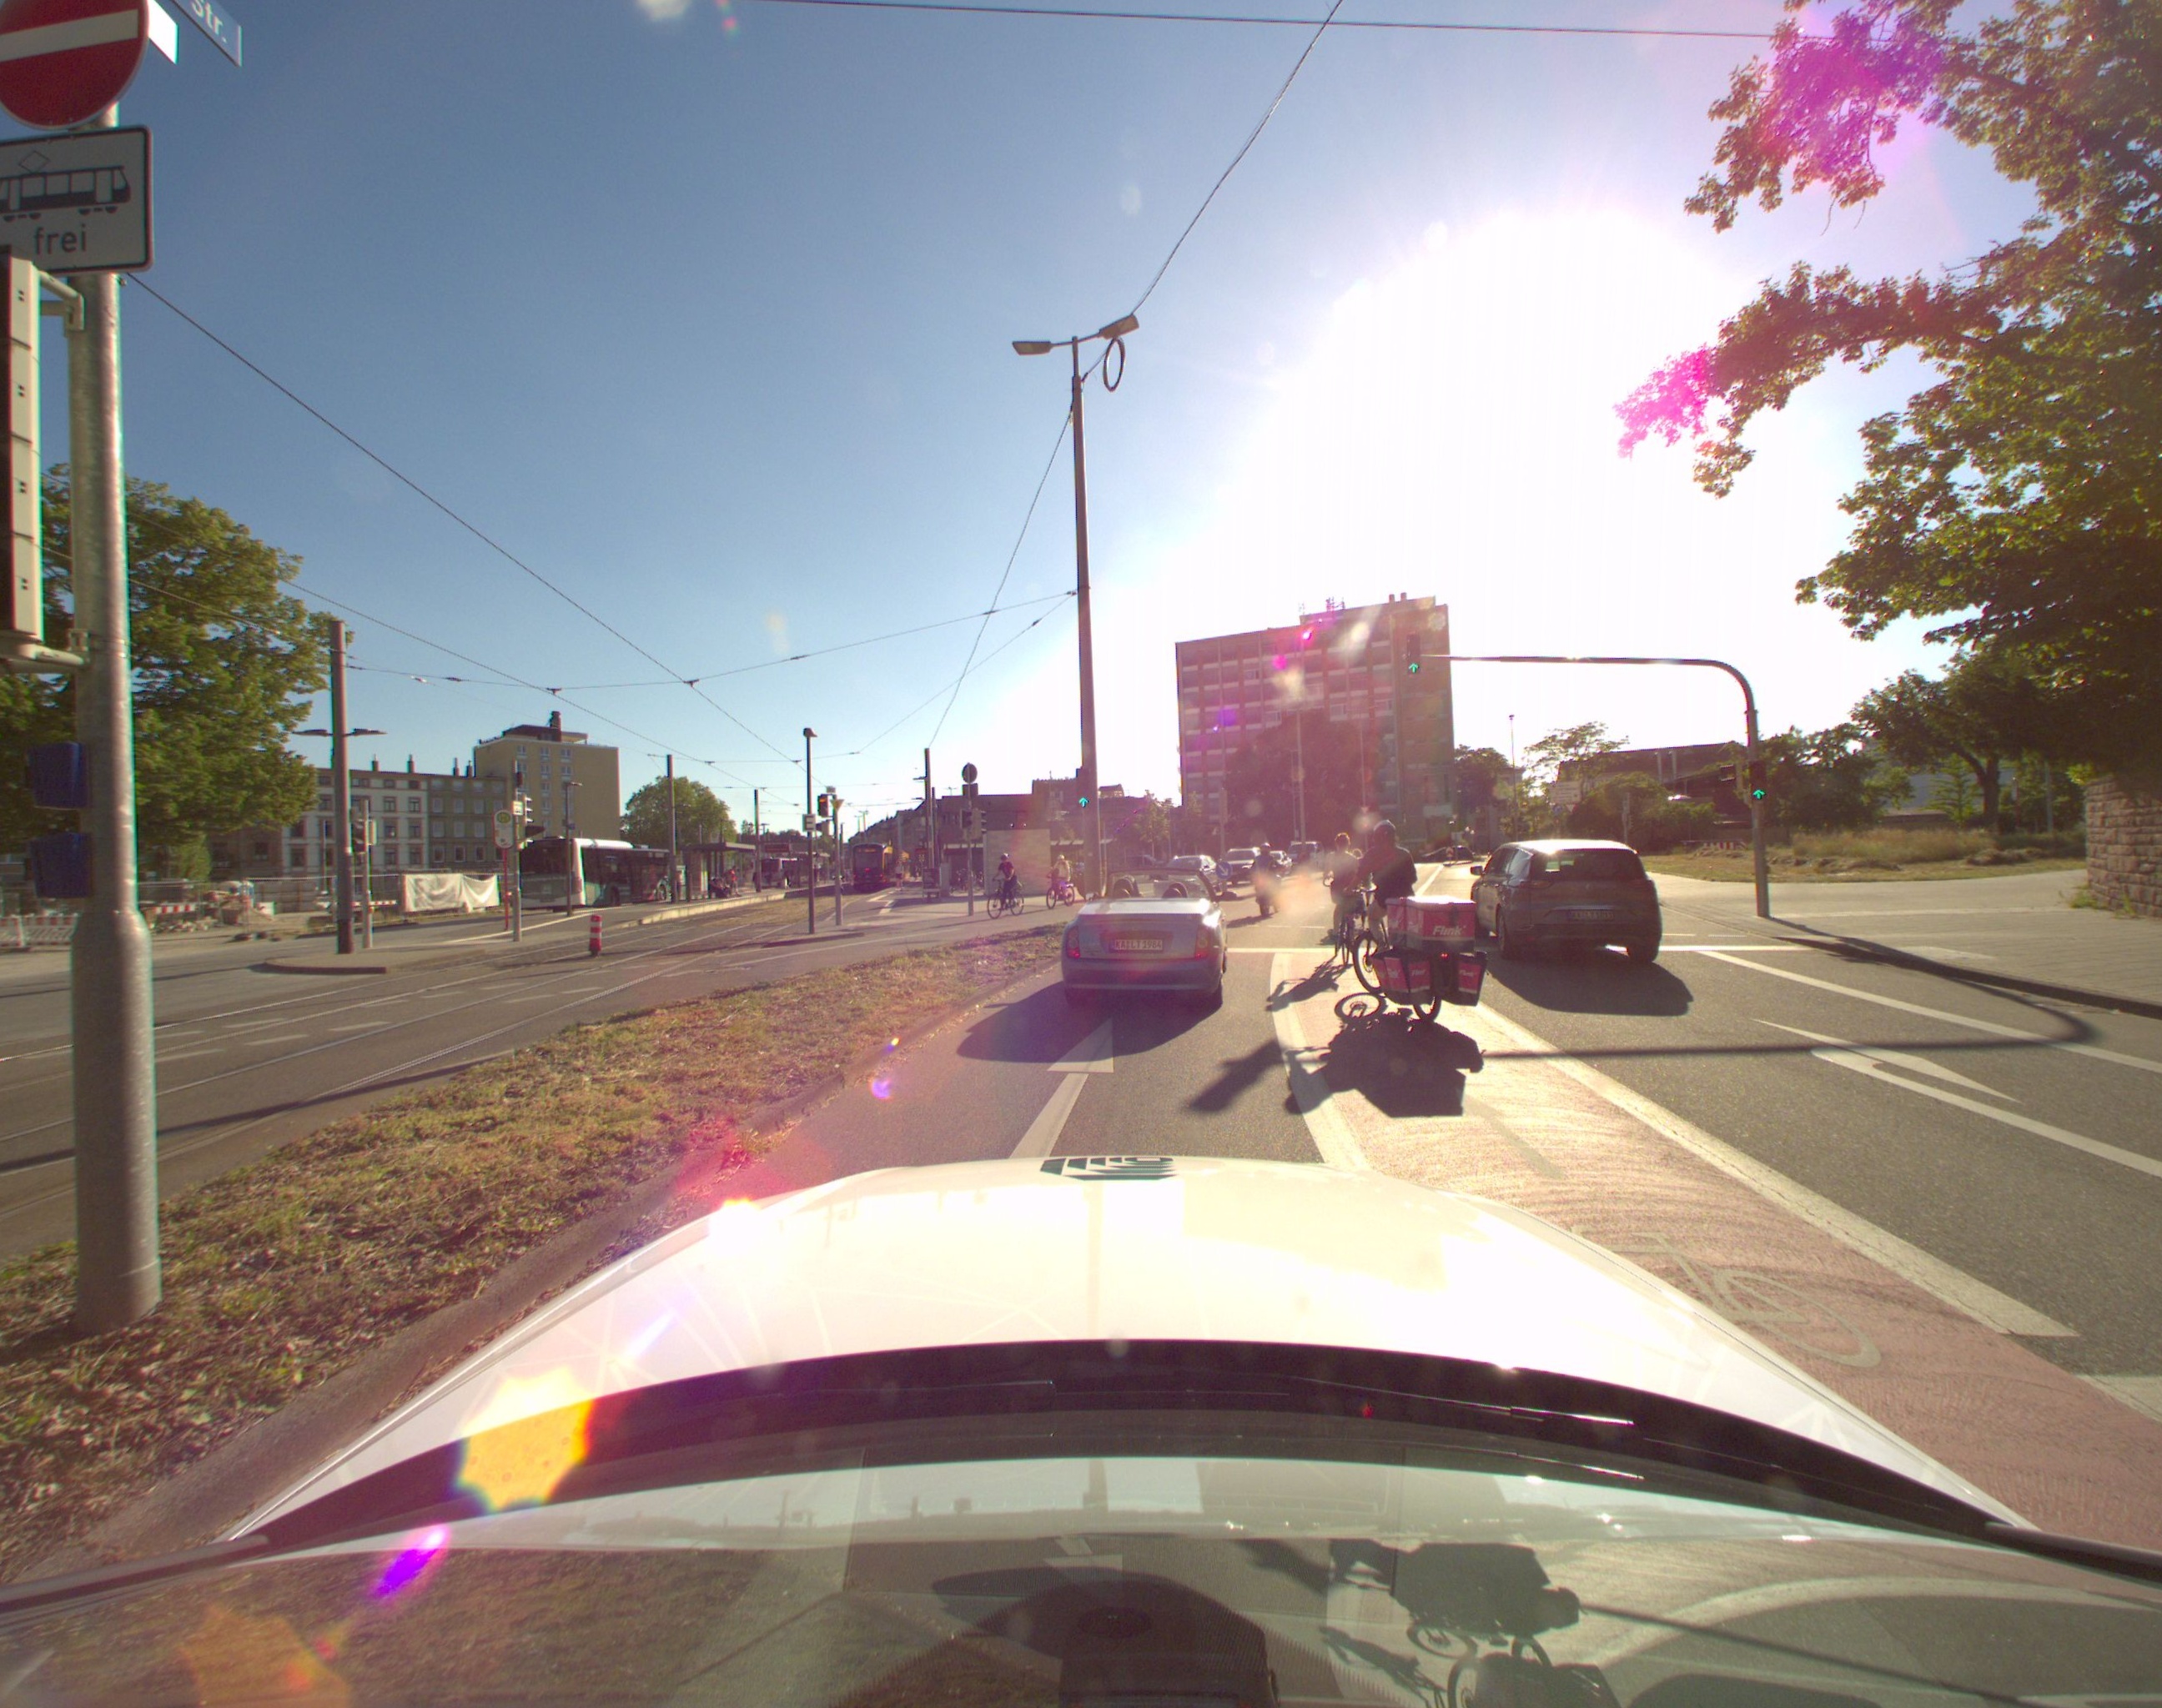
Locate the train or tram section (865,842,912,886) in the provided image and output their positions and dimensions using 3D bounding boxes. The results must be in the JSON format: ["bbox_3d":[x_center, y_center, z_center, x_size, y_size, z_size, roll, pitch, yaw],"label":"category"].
[{"bbox_3d":[-17.098,0.916,73.130,3.010,3.597,12.165,0,-1,-8],"label":"train or tram section"}]

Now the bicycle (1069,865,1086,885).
[{"bbox_3d":[-0.201,1.150,45.290,0.607,1.115,1.890,0,-1,-10],"label":"bicycle"}]

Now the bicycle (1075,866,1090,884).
[{"bbox_3d":[0.106,1.291,51.292,0.607,1.115,1.890,0,-1,-10],"label":"bicycle"}]

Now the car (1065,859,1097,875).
[{"bbox_3d":[-0.007,1.441,88.534,1.653,1.560,3.559,-2,-1,-37],"label":"car"}]

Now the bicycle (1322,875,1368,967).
[{"bbox_3d":[3.715,0.895,11.540,0.559,1.151,1.958,-1,-1,17],"label":"bicycle"}]

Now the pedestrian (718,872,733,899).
[{"bbox_3d":[-18.624,1.637,42.647,0.617,1.340,0.438,-2,-1,-15],"label":"pedestrian"}]

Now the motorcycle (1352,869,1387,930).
[{"bbox_3d":[5.798,0.871,16.357,0.608,1.097,2.372,-1,-1,20],"label":"motorcycle"}]

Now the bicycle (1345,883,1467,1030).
[{"bbox_3d":[3.118,0.902,8.039,0.551,1.171,2.377,0,-1,8],"label":"bicycle"}]

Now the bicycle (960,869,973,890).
[{"bbox_3d":[-6.234,1.360,44.235,0.607,1.115,1.890,0,-1,-10],"label":"bicycle"}]

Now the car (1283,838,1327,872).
[{"bbox_3d":[14.162,0.068,51.276,1.891,1.945,4.732,-4,-1,23],"label":"car"}]

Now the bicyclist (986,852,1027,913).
[{"bbox_3d":[-2.127,0.809,23.324,0.702,1.657,0.906,-5,-2,24],"label":"bicyclist"}]

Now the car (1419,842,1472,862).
[{"bbox_3d":[32.742,-0.153,73.180,3.983,1.530,1.801,-3,-1,-7],"label":"car"}]

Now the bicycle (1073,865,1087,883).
[{"bbox_3d":[-0.056,1.292,53.269,0.607,1.115,1.890,0,-1,-10],"label":"bicycle"}]

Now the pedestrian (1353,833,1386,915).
[{"bbox_3d":[5.789,0.390,16.352,0.583,1.598,1.030,-1,-1,19],"label":"pedestrian"}]

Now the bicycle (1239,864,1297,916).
[{"bbox_3d":[4.608,0.851,19.945,0.602,1.191,2.430,-1,-1,32],"label":"bicycle"}]

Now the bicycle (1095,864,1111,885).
[{"bbox_3d":[1.217,1.143,45.559,0.606,1.115,1.892,0,-1,-7],"label":"bicycle"}]

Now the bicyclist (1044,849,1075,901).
[{"bbox_3d":[-0.719,0.685,26.892,0.702,1.657,0.747,-3,-1,24],"label":"bicyclist"}]

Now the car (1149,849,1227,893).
[{"bbox_3d":[4.098,0.618,30.641,1.720,1.574,3.947,-1,-1,26],"label":"car"}]

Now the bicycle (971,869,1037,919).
[{"bbox_3d":[-2.162,1.107,23.253,0.668,1.250,2.471,-5,-2,24],"label":"bicycle"}]

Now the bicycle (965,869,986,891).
[{"bbox_3d":[-5.488,1.327,42.612,0.603,1.115,1.901,0,-1,8],"label":"bicycle"}]

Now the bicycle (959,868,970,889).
[{"bbox_3d":[-6.628,1.385,46.162,0.606,1.115,1.891,0,-1,-8],"label":"bicycle"}]

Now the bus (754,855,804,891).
[{"bbox_3d":[-29.721,1.813,80.664,2.723,3.274,13.408,0,-1,-12],"label":"bus"}]

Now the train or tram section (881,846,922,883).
[{"bbox_3d":[-18.638,1.060,85.100,3.037,3.597,12.021,0,-1,-7],"label":"train or tram section"}]

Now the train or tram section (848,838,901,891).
[{"bbox_3d":[-15.289,0.757,61.090,2.881,3.597,12.157,0,-1,-10],"label":"train or tram section"}]

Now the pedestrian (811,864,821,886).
[{"bbox_3d":[-21.877,1.743,67.214,0.641,1.749,0.567,-2,-1,-25],"label":"pedestrian"}]

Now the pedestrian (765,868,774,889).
[{"bbox_3d":[-25.574,2.016,66.901,0.572,1.749,0.636,-2,-1,-17],"label":"pedestrian"}]

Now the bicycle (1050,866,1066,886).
[{"bbox_3d":[-1.275,1.215,45.173,0.607,1.115,1.890,0,-1,-10],"label":"bicycle"}]

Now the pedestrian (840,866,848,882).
[{"bbox_3d":[-26.573,2.292,91.415,0.733,1.749,0.638,-2,-1,-6],"label":"pedestrian"}]

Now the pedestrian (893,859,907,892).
[{"bbox_3d":[-9.877,1.164,44.523,0.639,1.749,0.569,-2,-1,-17],"label":"pedestrian"}]

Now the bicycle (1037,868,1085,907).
[{"bbox_3d":[-0.625,1.086,27.053,0.668,1.180,2.195,-3,-1,24],"label":"bicycle"}]

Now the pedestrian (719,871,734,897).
[{"bbox_3d":[-18.848,1.597,43.307,0.571,1.346,0.636,-2,-1,-15],"label":"pedestrian"}]

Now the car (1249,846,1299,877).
[{"bbox_3d":[10.814,0.403,45.466,1.678,1.560,4.004,-3,-1,28],"label":"car"}]

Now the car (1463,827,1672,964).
[{"bbox_3d":[7.098,0.543,12.394,1.816,1.689,4.389,-1,-1,18],"label":"car"}]

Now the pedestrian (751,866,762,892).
[{"bbox_3d":[-22.953,1.761,57.672,0.641,1.749,0.567,-2,-1,-25],"label":"pedestrian"}]

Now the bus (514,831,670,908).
[{"bbox_3d":[-22.390,0.674,38.094,2.652,3.135,9.617,0,-1,-8],"label":"bus"}]

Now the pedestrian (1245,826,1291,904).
[{"bbox_3d":[4.568,0.267,19.911,0.825,1.869,0.926,-1,-1,32],"label":"pedestrian"}]

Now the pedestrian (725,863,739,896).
[{"bbox_3d":[-19.307,1.407,45.066,0.571,1.749,0.636,-2,-1,-15],"label":"pedestrian"}]

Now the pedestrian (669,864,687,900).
[{"bbox_3d":[-19.784,1.380,39.981,0.536,1.749,0.559,-2,-1,-4],"label":"pedestrian"}]

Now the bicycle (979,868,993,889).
[{"bbox_3d":[-5.199,1.323,44.542,0.607,1.115,1.890,0,-1,-10],"label":"bicycle"}]

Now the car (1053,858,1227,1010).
[{"bbox_3d":[0.923,0.784,9.889,1.650,1.441,4.166,-1,-1,10],"label":"car"}]

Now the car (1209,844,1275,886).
[{"bbox_3d":[7.464,0.462,37.427,1.745,1.706,4.557,-4,-1,26],"label":"car"}]

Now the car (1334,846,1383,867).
[{"bbox_3d":[23.750,0.204,69.691,4.016,1.530,1.786,-3,-1,-34],"label":"car"}]

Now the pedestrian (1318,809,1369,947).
[{"bbox_3d":[3.726,0.334,11.596,0.654,1.869,0.876,-1,-1,17],"label":"pedestrian"}]

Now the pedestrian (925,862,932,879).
[{"bbox_3d":[-16.489,1.776,87.976,0.639,1.749,0.732,-2,-1,-17],"label":"pedestrian"}]

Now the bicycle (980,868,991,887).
[{"bbox_3d":[-5.926,1.435,50.500,0.607,1.115,1.890,0,-1,-10],"label":"bicycle"}]

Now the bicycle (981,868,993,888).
[{"bbox_3d":[-5.397,1.361,46.611,0.607,1.115,1.890,0,-1,-10],"label":"bicycle"}]

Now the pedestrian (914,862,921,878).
[{"bbox_3d":[-18.174,1.796,90.397,0.604,1.749,0.830,-2,-1,-6],"label":"pedestrian"}]

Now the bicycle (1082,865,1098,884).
[{"bbox_3d":[0.534,1.197,47.593,0.607,1.115,1.890,0,-1,-10],"label":"bicycle"}]

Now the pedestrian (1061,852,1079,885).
[{"bbox_3d":[-0.642,0.818,46.154,0.901,1.869,0.684,0,-1,-11],"label":"pedestrian"}]

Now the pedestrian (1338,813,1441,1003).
[{"bbox_3d":[3.196,0.534,8.531,0.802,1.869,0.958,0,-1,8],"label":"pedestrian"}]

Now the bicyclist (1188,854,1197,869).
[{"bbox_3d":[11.888,0.837,86.950,0.744,1.598,0.593,-1,-1,32],"label":"bicyclist"}]
